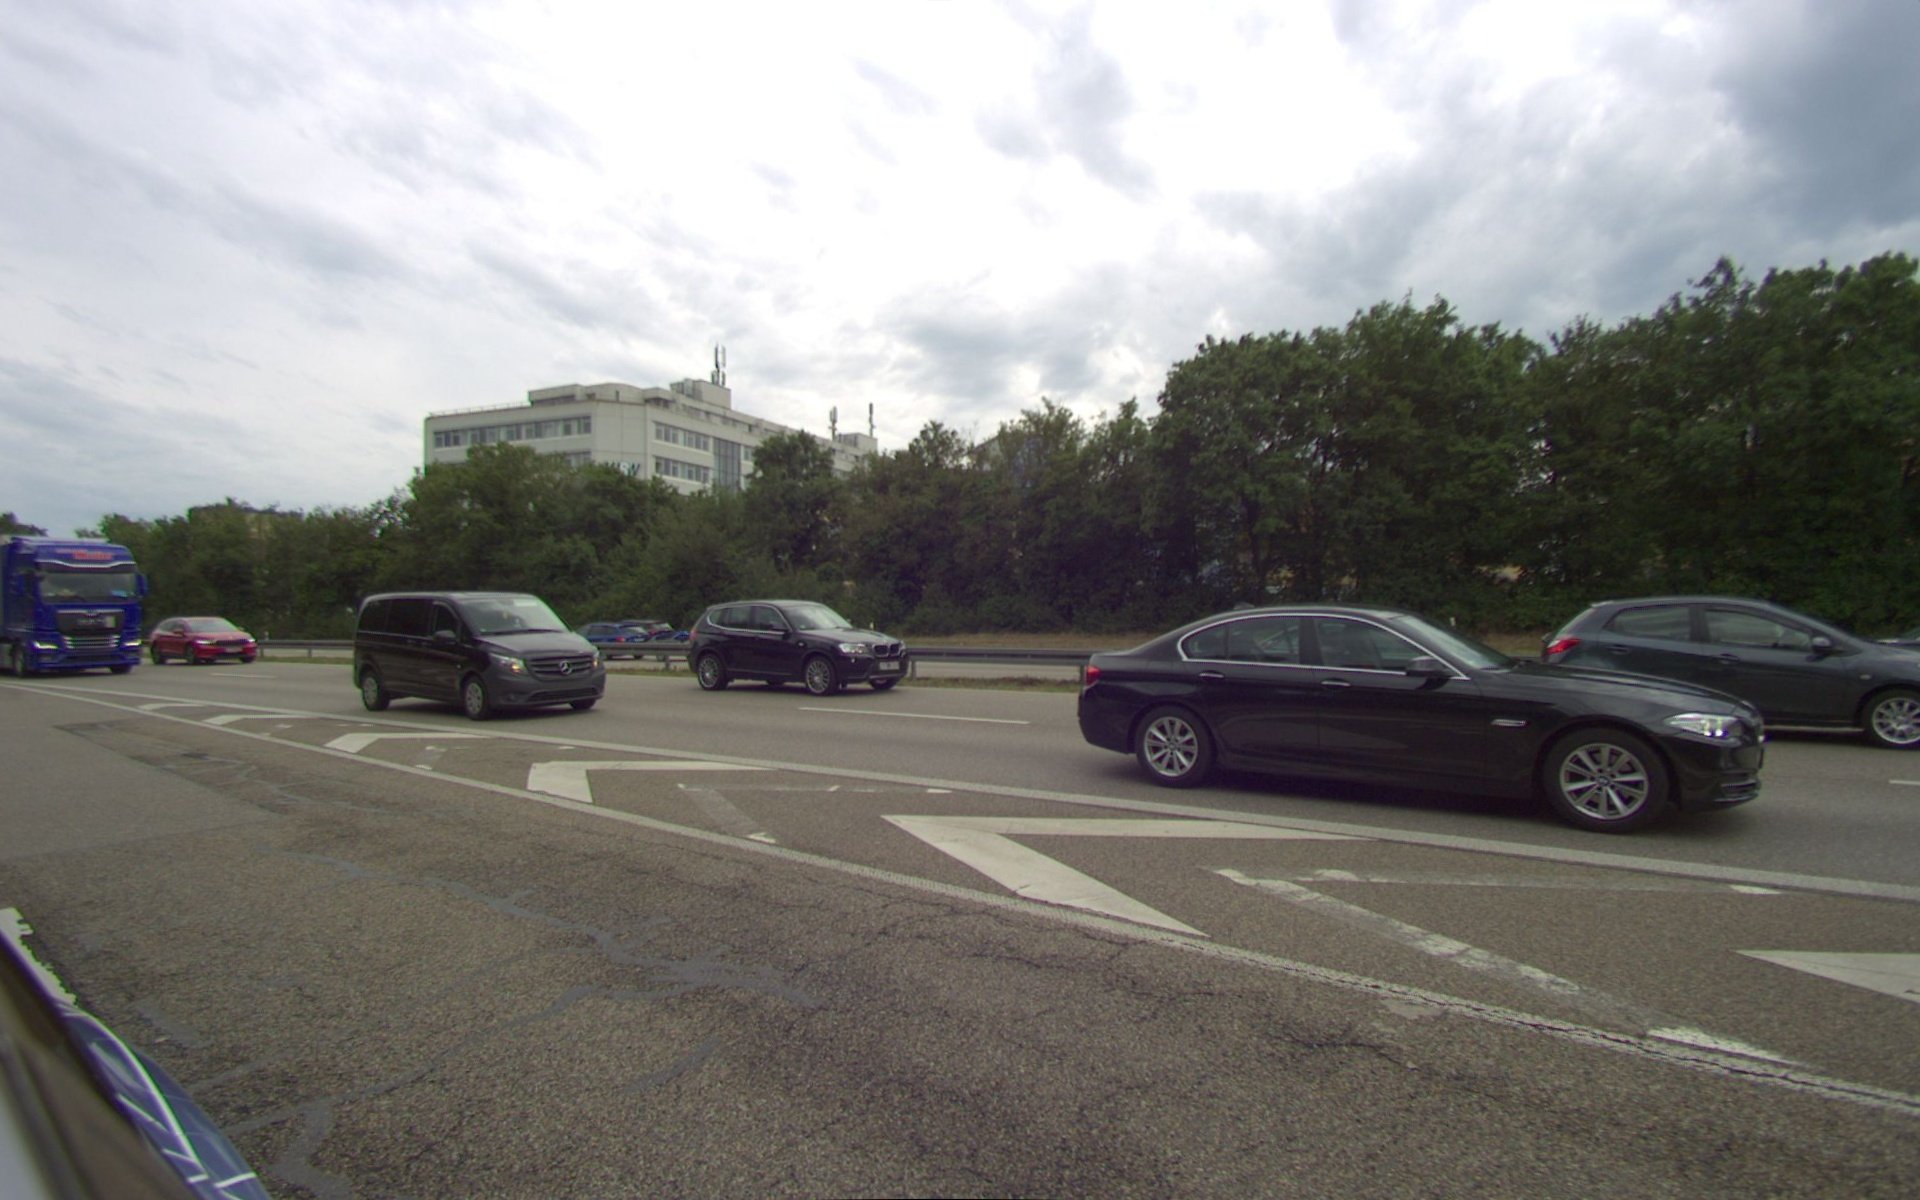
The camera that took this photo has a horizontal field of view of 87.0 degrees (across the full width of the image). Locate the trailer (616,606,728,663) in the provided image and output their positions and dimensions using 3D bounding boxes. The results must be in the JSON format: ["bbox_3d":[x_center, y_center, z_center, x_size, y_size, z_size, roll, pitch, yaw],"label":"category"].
[{"bbox_3d":[-10.654,1.262,37.397,3.982,2.029,1.647,-1,-1,29],"label":"trailer"}]

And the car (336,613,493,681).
[{"bbox_3d":[-14.458,1.199,26.729,4.672,1.667,1.731,-2,-1,34],"label":"car"}]

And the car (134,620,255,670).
[{"bbox_3d":[-26.668,1.552,35.216,4.776,1.631,1.976,-2,-1,35],"label":"car"}]

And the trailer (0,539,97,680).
[{"bbox_3d":[-32.855,0.345,33.536,13.420,4.053,2.606,-1,0,32],"label":"trailer"}]

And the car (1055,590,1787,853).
[{"bbox_3d":[3.276,0.704,7.897,4.823,1.471,1.830,-1,0,37],"label":"car"}]

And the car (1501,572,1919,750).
[{"bbox_3d":[8.061,0.593,10.668,3.990,1.624,1.631,-2,-1,35],"label":"car"}]

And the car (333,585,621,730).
[{"bbox_3d":[-7.693,0.826,15.895,5.071,1.920,1.975,-2,0,37],"label":"car"}]

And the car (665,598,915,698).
[{"bbox_3d":[-3.209,0.844,18.596,4.642,1.625,1.843,-2,-1,36],"label":"car"}]

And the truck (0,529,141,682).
[{"bbox_3d":[-27.089,0.171,29.910,6.569,4.073,2.541,-1,0,33],"label":"truck"}]
